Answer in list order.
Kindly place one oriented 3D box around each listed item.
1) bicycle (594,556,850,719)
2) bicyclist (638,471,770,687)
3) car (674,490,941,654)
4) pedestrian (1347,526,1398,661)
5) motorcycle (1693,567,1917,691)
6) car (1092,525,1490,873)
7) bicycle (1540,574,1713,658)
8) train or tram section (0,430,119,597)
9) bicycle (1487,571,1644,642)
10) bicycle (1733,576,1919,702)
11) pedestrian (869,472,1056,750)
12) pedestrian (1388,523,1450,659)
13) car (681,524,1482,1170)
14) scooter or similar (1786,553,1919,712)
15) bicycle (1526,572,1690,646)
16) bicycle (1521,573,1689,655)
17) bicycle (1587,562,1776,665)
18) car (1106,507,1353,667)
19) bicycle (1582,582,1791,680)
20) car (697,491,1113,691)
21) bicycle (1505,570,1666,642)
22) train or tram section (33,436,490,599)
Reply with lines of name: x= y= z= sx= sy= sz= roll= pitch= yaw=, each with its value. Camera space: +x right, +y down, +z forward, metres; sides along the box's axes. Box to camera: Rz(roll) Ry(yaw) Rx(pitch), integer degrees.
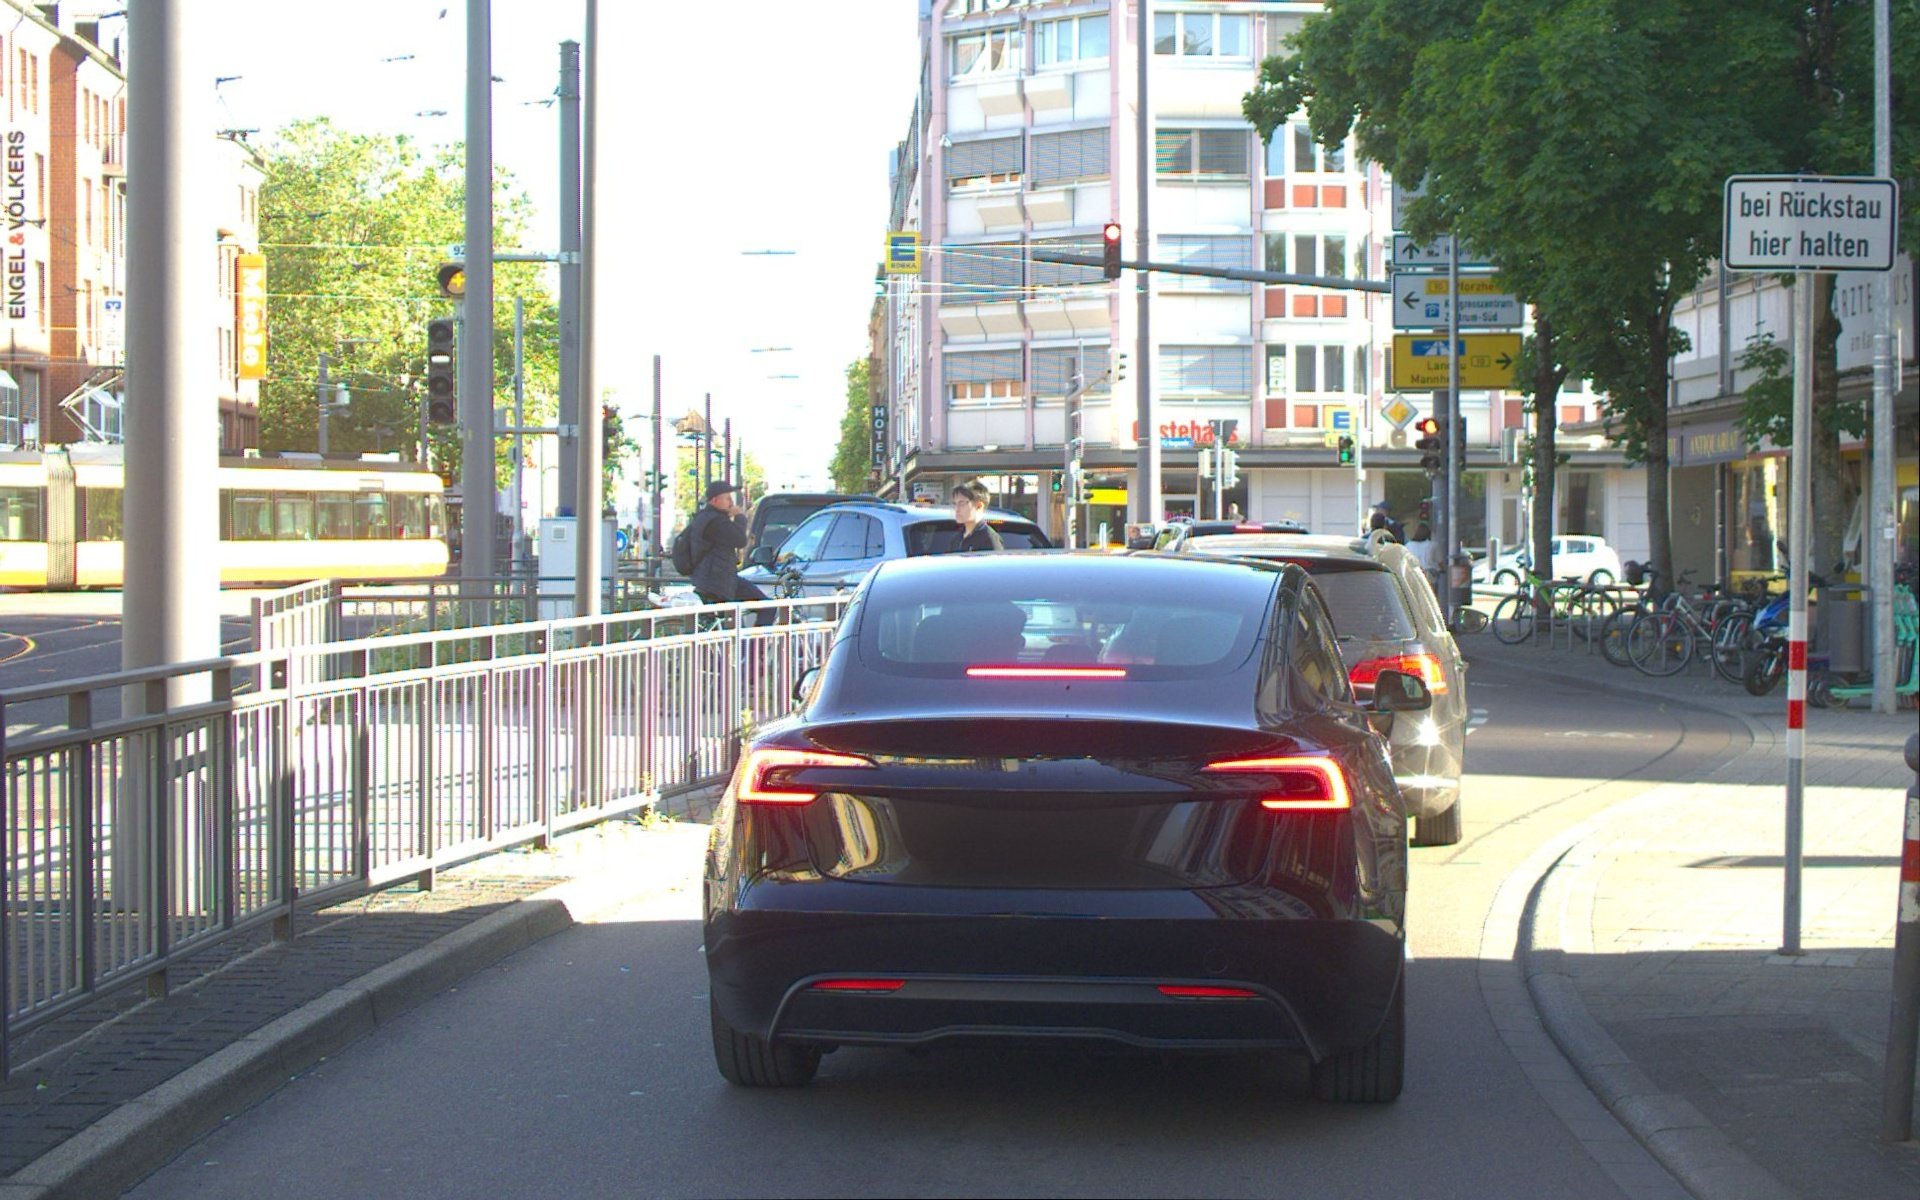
bicycle: x=-1.700 y=0.262 z=24.452 sx=1.727 sy=1.084 sz=0.678 roll=2 pitch=1 yaw=-9
bicyclist: x=-1.824 y=-0.151 z=24.474 sx=0.836 sy=1.494 sz=0.560 roll=2 pitch=1 yaw=-9
car: x=-1.625 y=-0.313 z=35.026 sx=1.824 sy=1.514 sz=4.219 roll=2 pitch=1 yaw=-15
pedestrian: x=5.234 y=-0.089 z=43.660 sx=0.562 sy=1.677 sz=0.750 roll=1 pitch=1 yaw=3
motorcycle: x=8.218 y=0.281 z=33.487 sx=1.991 sy=1.124 sz=0.596 roll=2 pitch=1 yaw=-2
car: x=1.710 y=0.377 z=16.748 sx=1.654 sy=1.413 sz=3.999 roll=2 pitch=2 yaw=8
bicycle: x=7.855 y=0.184 z=40.543 sx=1.924 sy=0.947 sz=0.526 roll=1 pitch=1 yaw=0
train or tram section: x=-25.465 y=-2.061 z=75.278 sx=14.153 sy=3.703 sz=2.682 roll=1 pitch=1 yaw=-44
bicycle: x=7.867 y=0.082 z=44.698 sx=1.924 sy=0.887 sz=0.526 roll=1 pitch=1 yaw=0
bicycle: x=8.167 y=0.354 z=31.469 sx=2.051 sy=1.118 sz=0.483 roll=1 pitch=1 yaw=0
pedestrian: x=0.017 y=0.073 z=22.043 sx=1.004 sy=1.736 sz=0.529 roll=2 pitch=1 yaw=-26
pedestrian: x=5.521 y=-0.118 z=41.365 sx=0.629 sy=1.608 sz=0.643 roll=1 pitch=1 yaw=2
car: x=0.189 y=0.556 z=9.970 sx=1.848 sy=1.479 sz=3.788 roll=1 pitch=1 yaw=-3
scooter or similar: x=7.768 y=0.272 z=29.041 sx=1.408 sy=1.312 sz=0.696 roll=0 pitch=-1 yaw=-27
bicycle: x=8.038 y=0.103 z=42.682 sx=1.924 sy=0.885 sz=0.526 roll=1 pitch=1 yaw=0
bicycle: x=7.790 y=0.168 z=41.558 sx=1.924 sy=0.947 sz=0.526 roll=1 pitch=1 yaw=0
bicycle: x=7.874 y=0.147 z=37.550 sx=1.924 sy=1.093 sz=0.555 roll=1 pitch=1 yaw=0
car: x=2.741 y=-0.161 z=35.760 sx=1.824 sy=1.514 sz=3.650 roll=2 pitch=1 yaw=-7
bicycle: x=7.524 y=0.322 z=35.645 sx=2.051 sy=0.979 sz=0.483 roll=1 pitch=1 yaw=0
car: x=-0.550 y=-0.122 z=28.804 sx=1.783 sy=1.514 sz=4.219 roll=2 pitch=1 yaw=-27
bicycle: x=7.947 y=0.077 z=43.714 sx=1.924 sy=0.887 sz=0.526 roll=1 pitch=1 yaw=0
train or tram section: x=-17.228 y=-1.932 z=86.897 sx=2.640 sy=3.706 sz=15.365 roll=2 pitch=1 yaw=25
